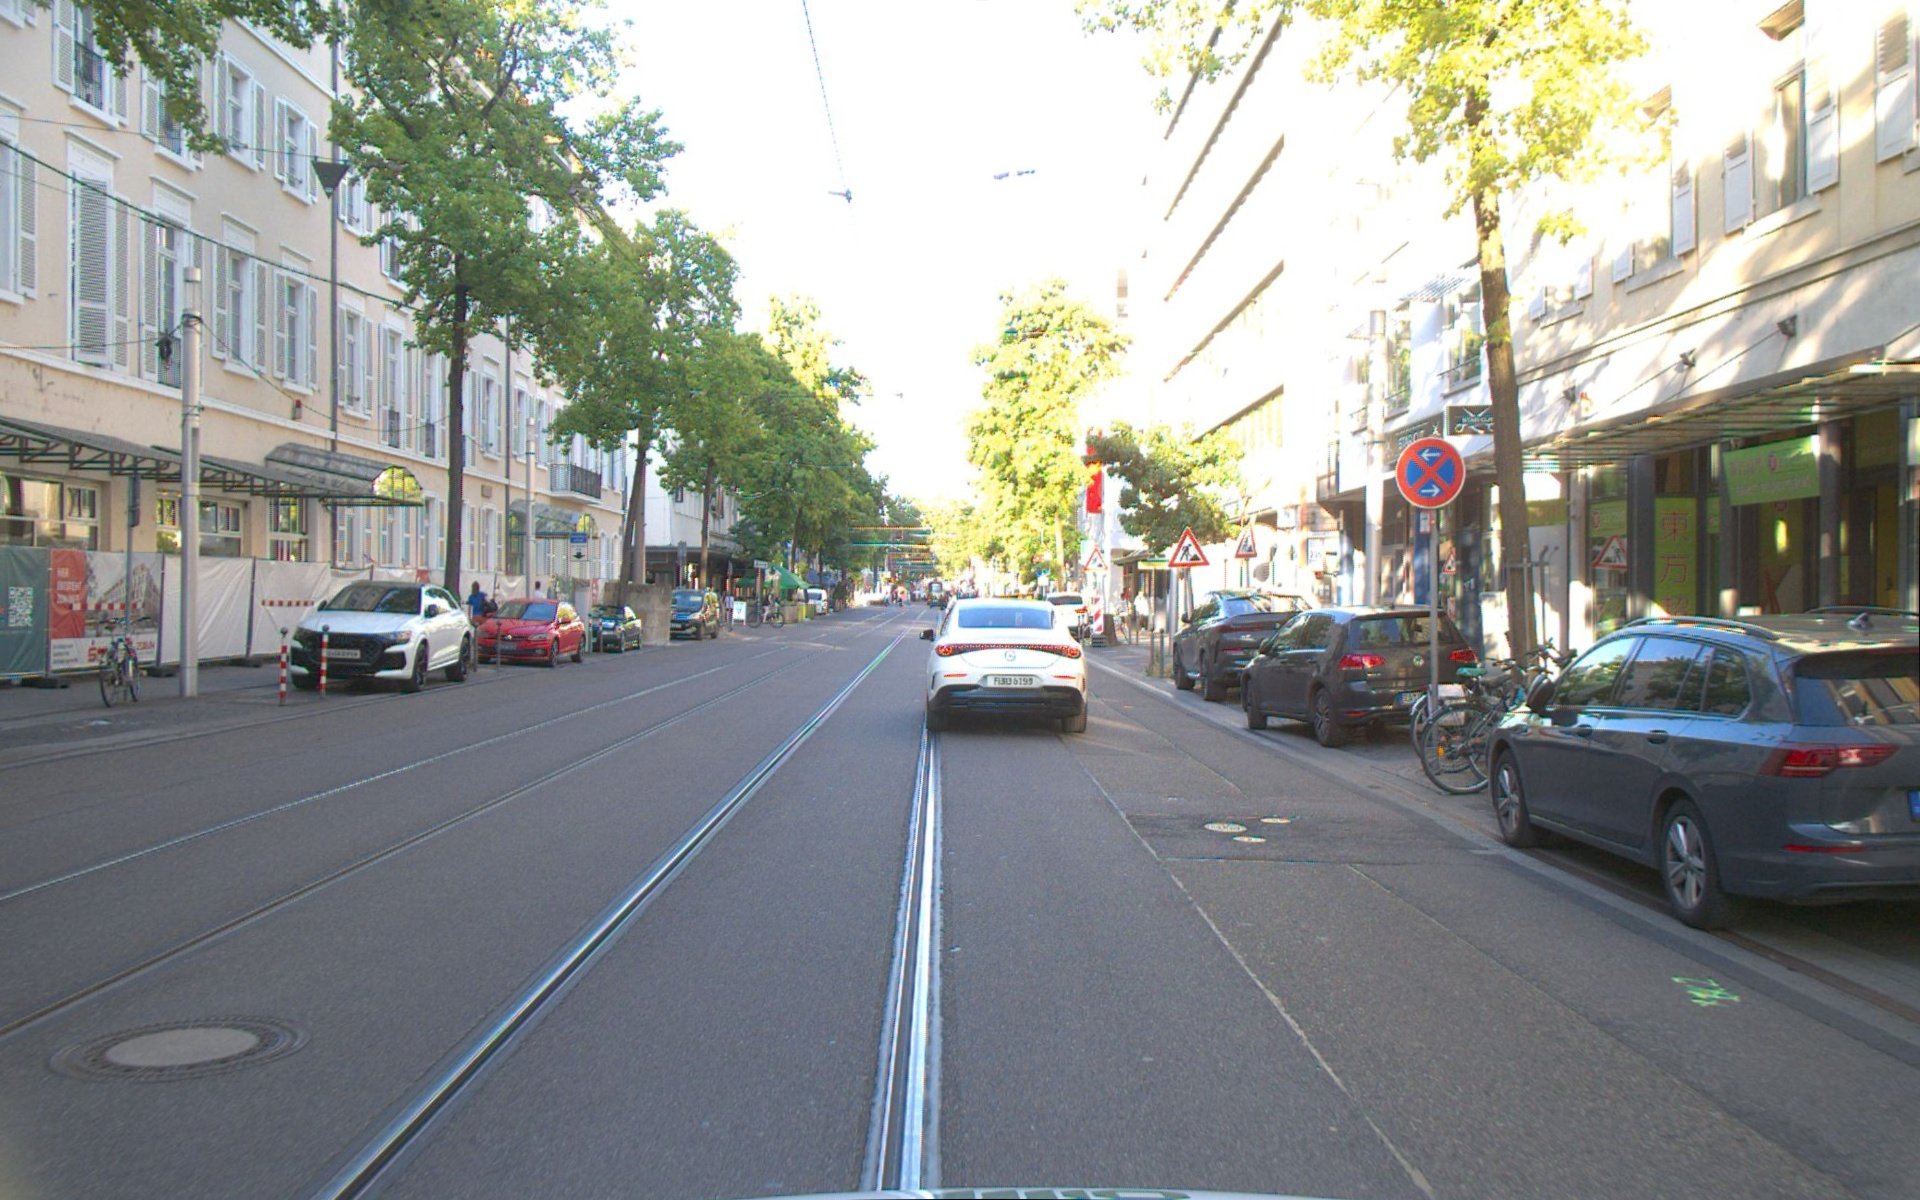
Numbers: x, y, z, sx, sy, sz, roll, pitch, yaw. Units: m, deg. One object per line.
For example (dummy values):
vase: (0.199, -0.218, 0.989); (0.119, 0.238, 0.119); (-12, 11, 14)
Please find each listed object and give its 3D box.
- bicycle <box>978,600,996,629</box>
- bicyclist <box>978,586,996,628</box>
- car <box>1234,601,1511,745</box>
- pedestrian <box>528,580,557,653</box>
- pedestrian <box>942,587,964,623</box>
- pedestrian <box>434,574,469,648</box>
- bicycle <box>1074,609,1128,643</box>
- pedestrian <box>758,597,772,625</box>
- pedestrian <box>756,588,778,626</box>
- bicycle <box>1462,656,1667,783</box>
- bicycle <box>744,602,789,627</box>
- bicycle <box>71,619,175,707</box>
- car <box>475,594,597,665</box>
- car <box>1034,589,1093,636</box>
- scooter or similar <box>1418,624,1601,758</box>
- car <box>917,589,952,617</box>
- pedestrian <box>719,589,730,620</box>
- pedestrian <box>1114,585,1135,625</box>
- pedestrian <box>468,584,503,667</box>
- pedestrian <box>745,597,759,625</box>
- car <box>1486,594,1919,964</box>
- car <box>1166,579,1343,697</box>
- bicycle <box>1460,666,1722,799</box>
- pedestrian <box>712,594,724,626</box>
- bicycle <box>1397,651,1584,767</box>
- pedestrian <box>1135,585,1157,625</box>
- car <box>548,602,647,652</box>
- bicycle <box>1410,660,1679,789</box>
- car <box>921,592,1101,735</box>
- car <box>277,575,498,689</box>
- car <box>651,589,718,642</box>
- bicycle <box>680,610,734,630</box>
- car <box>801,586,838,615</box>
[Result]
bicycle: (1.121, 0.596, 68.241); (0.725, 1.209, 2.160); (0, 0, 0)
bicyclist: (1.120, 0.298, 68.302); (0.710, 1.732, 0.811); (0, 0, 0)
car: (4.592, 0.758, 19.041); (1.802, 1.461, 3.994); (0, 0, -7)
pedestrian: (-11.801, 0.463, 46.736); (0.693, 2.039, 0.675); (0, 0, -4)
pedestrian: (-0.341, 0.258, 83.190); (0.904, 1.805, 0.870); (0, 0, -15)
pedestrian: (-12.593, 0.270, 40.976); (0.693, 1.838, 0.675); (0, 0, -6)
bicycle: (4.466, 0.815, 52.532); (1.687, 1.080, 0.581); (0, 0, 2)
pedestrian: (-10.694, 0.585, 90.626); (0.511, 1.504, 0.644); (-2, -1, -28)
pedestrian: (-9.072, 0.332, 77.829); (0.904, 1.805, 0.870); (0, 0, -15)
bicycle: (4.920, 0.963, 13.519); (1.505, 0.981, 0.496); (0, 0, 6)
bicycle: (-9.108, 0.658, 77.804); (2.014, 1.155, 0.870); (0, 0, -16)
bicycle: (-10.913, 0.792, 21.628); (0.582, 1.068, 2.005); (0, 0, -8)
car: (-9.633, 0.650, 37.875); (1.654, 1.525, 4.234); (1, 0, 0)
car: (3.927, 0.451, 63.504); (1.953, 1.758, 4.240); (0, 0, -1)
scooter or similar: (5.144, 0.842, 15.546); (1.506, 1.217, 0.675); (0, 0, 3)
car: (-2.910, 0.327, 190.325); (3.957, 3.169, 8.429); (0, 0, -1)
pedestrian: (-12.754, 0.241, 89.546); (0.506, 1.681, 0.650); (0, 0, -1)
pedestrian: (7.520, 0.210, 75.569); (0.785, 1.805, 0.680); (0, 0, -13)
pedestrian: (-11.792, 0.635, 41.103); (0.693, 2.039, 0.675); (0, 0, -4)
pedestrian: (-11.210, 0.593, 89.118); (0.557, 1.489, 0.650); (0, 0, 18)
car: (4.430, 0.744, 8.983); (1.832, 1.478, 4.106); (-2, 0, 0)
car: (4.678, 0.552, 26.960); (1.953, 1.743, 4.865); (0, 0, -1)
bicycle: (4.815, 1.006, 12.669); (1.856, 0.981, 0.332); (0, 0, 4)
pedestrian: (-12.520, 0.527, 85.535); (0.506, 1.644, 0.650); (0, 0, -2)
bicycle: (4.673, 0.957, 14.625); (1.506, 0.981, 0.496); (0, 0, 3)
pedestrian: (8.461, 0.205, 75.258); (0.785, 1.805, 0.680); (0, 0, -13)
car: (-10.099, 0.734, 46.356); (1.953, 1.315, 3.999); (0, 0, -1)
bicycle: (4.590, 0.970, 13.028); (1.994, 0.981, 0.282); (0, 0, 4)
car: (0.489, 0.662, 19.411); (1.830, 1.494, 4.040); (0, 0, -2)
car: (-9.428, 0.494, 27.723); (1.921, 1.721, 5.013); (1, 0, 0)
car: (-9.836, 0.537, 59.272); (1.519, 1.827, 3.170); (0, 0, 8)
bicycle: (-10.633, 0.841, 69.502); (2.206, 0.845, 0.717); (0, 0, 22)
car: (-10.351, 0.035, 122.050); (1.951, 2.049, 4.003); (0, 0, 7)
